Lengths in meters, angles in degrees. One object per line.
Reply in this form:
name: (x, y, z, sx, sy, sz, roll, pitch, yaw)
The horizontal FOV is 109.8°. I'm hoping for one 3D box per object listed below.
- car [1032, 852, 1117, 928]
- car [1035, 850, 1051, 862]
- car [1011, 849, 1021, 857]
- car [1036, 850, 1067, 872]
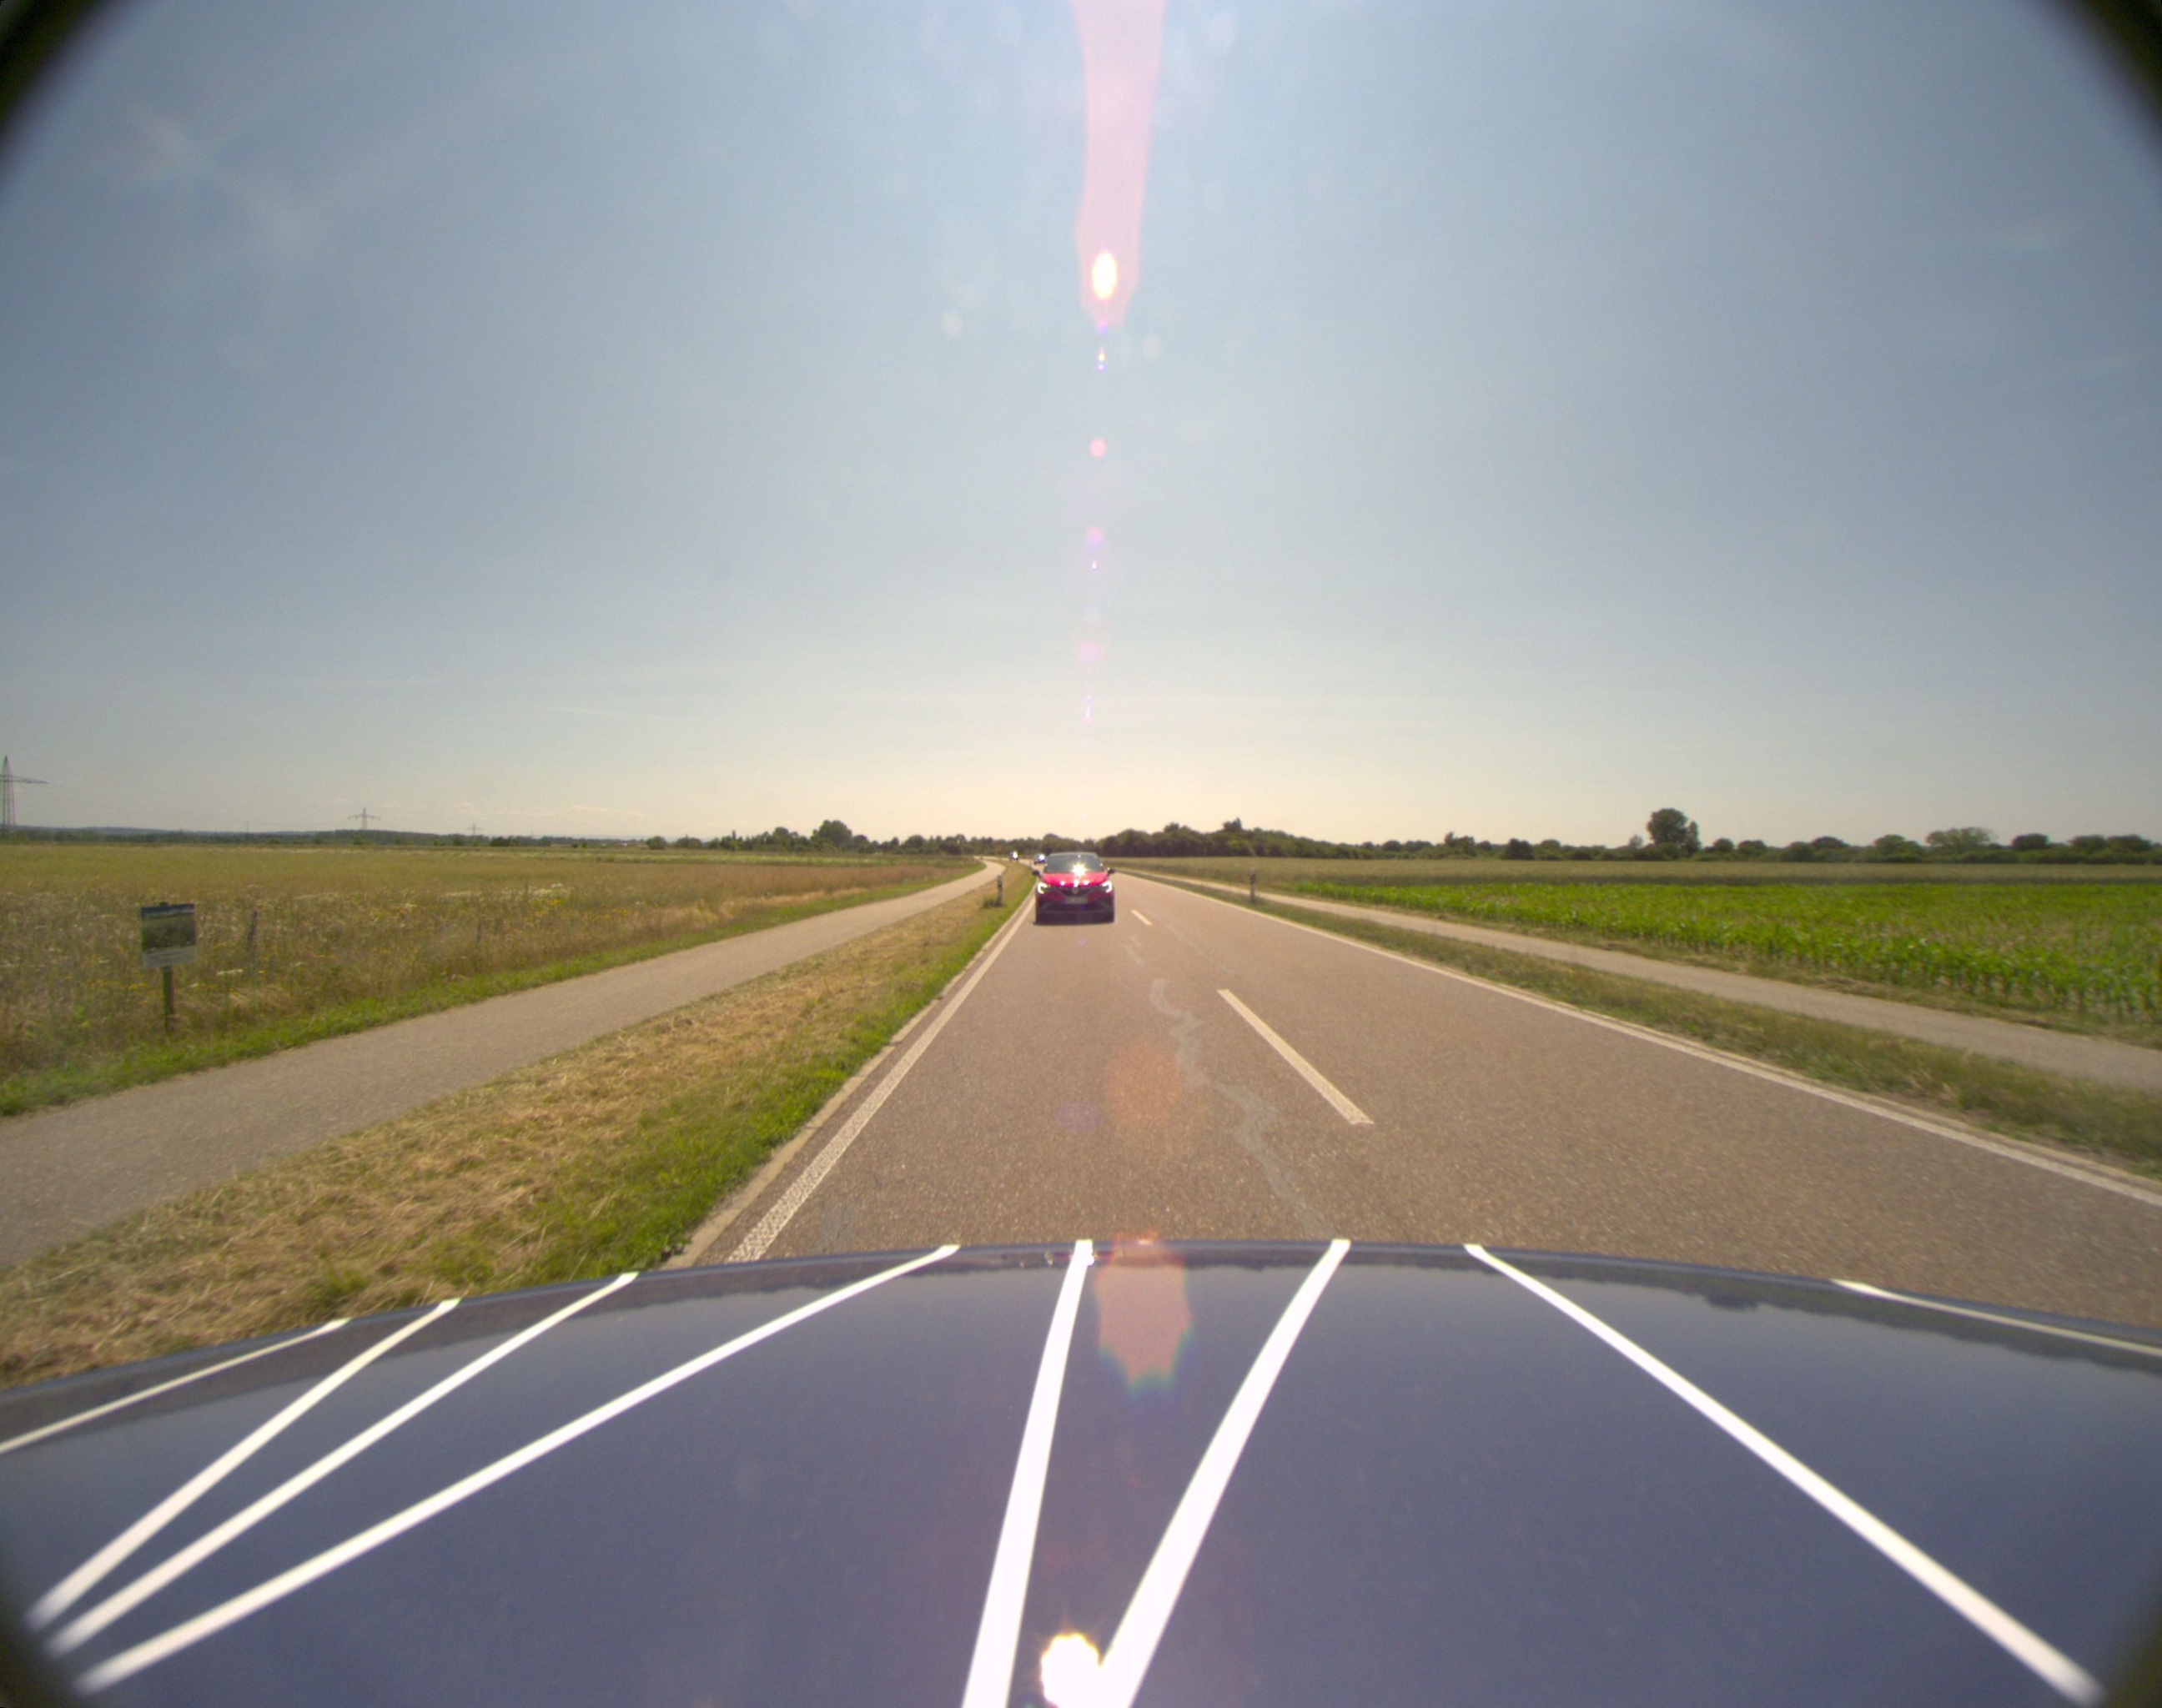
car: (-0.202, 0.777, 18.997, 1.837, 1.587, 4.720, -1, 1, -1)
car: (-5.290, 0.198, 106.117, 1.984, 1.587, 5.398, -1, 1, -6)
car: (-13.806, -0.251, 161.887, 1.984, 1.587, 5.398, -1, 1, -6)
car: (-2.311, 0.537, 60.423, 1.983, 1.587, 5.402, -1, 1, 2)
